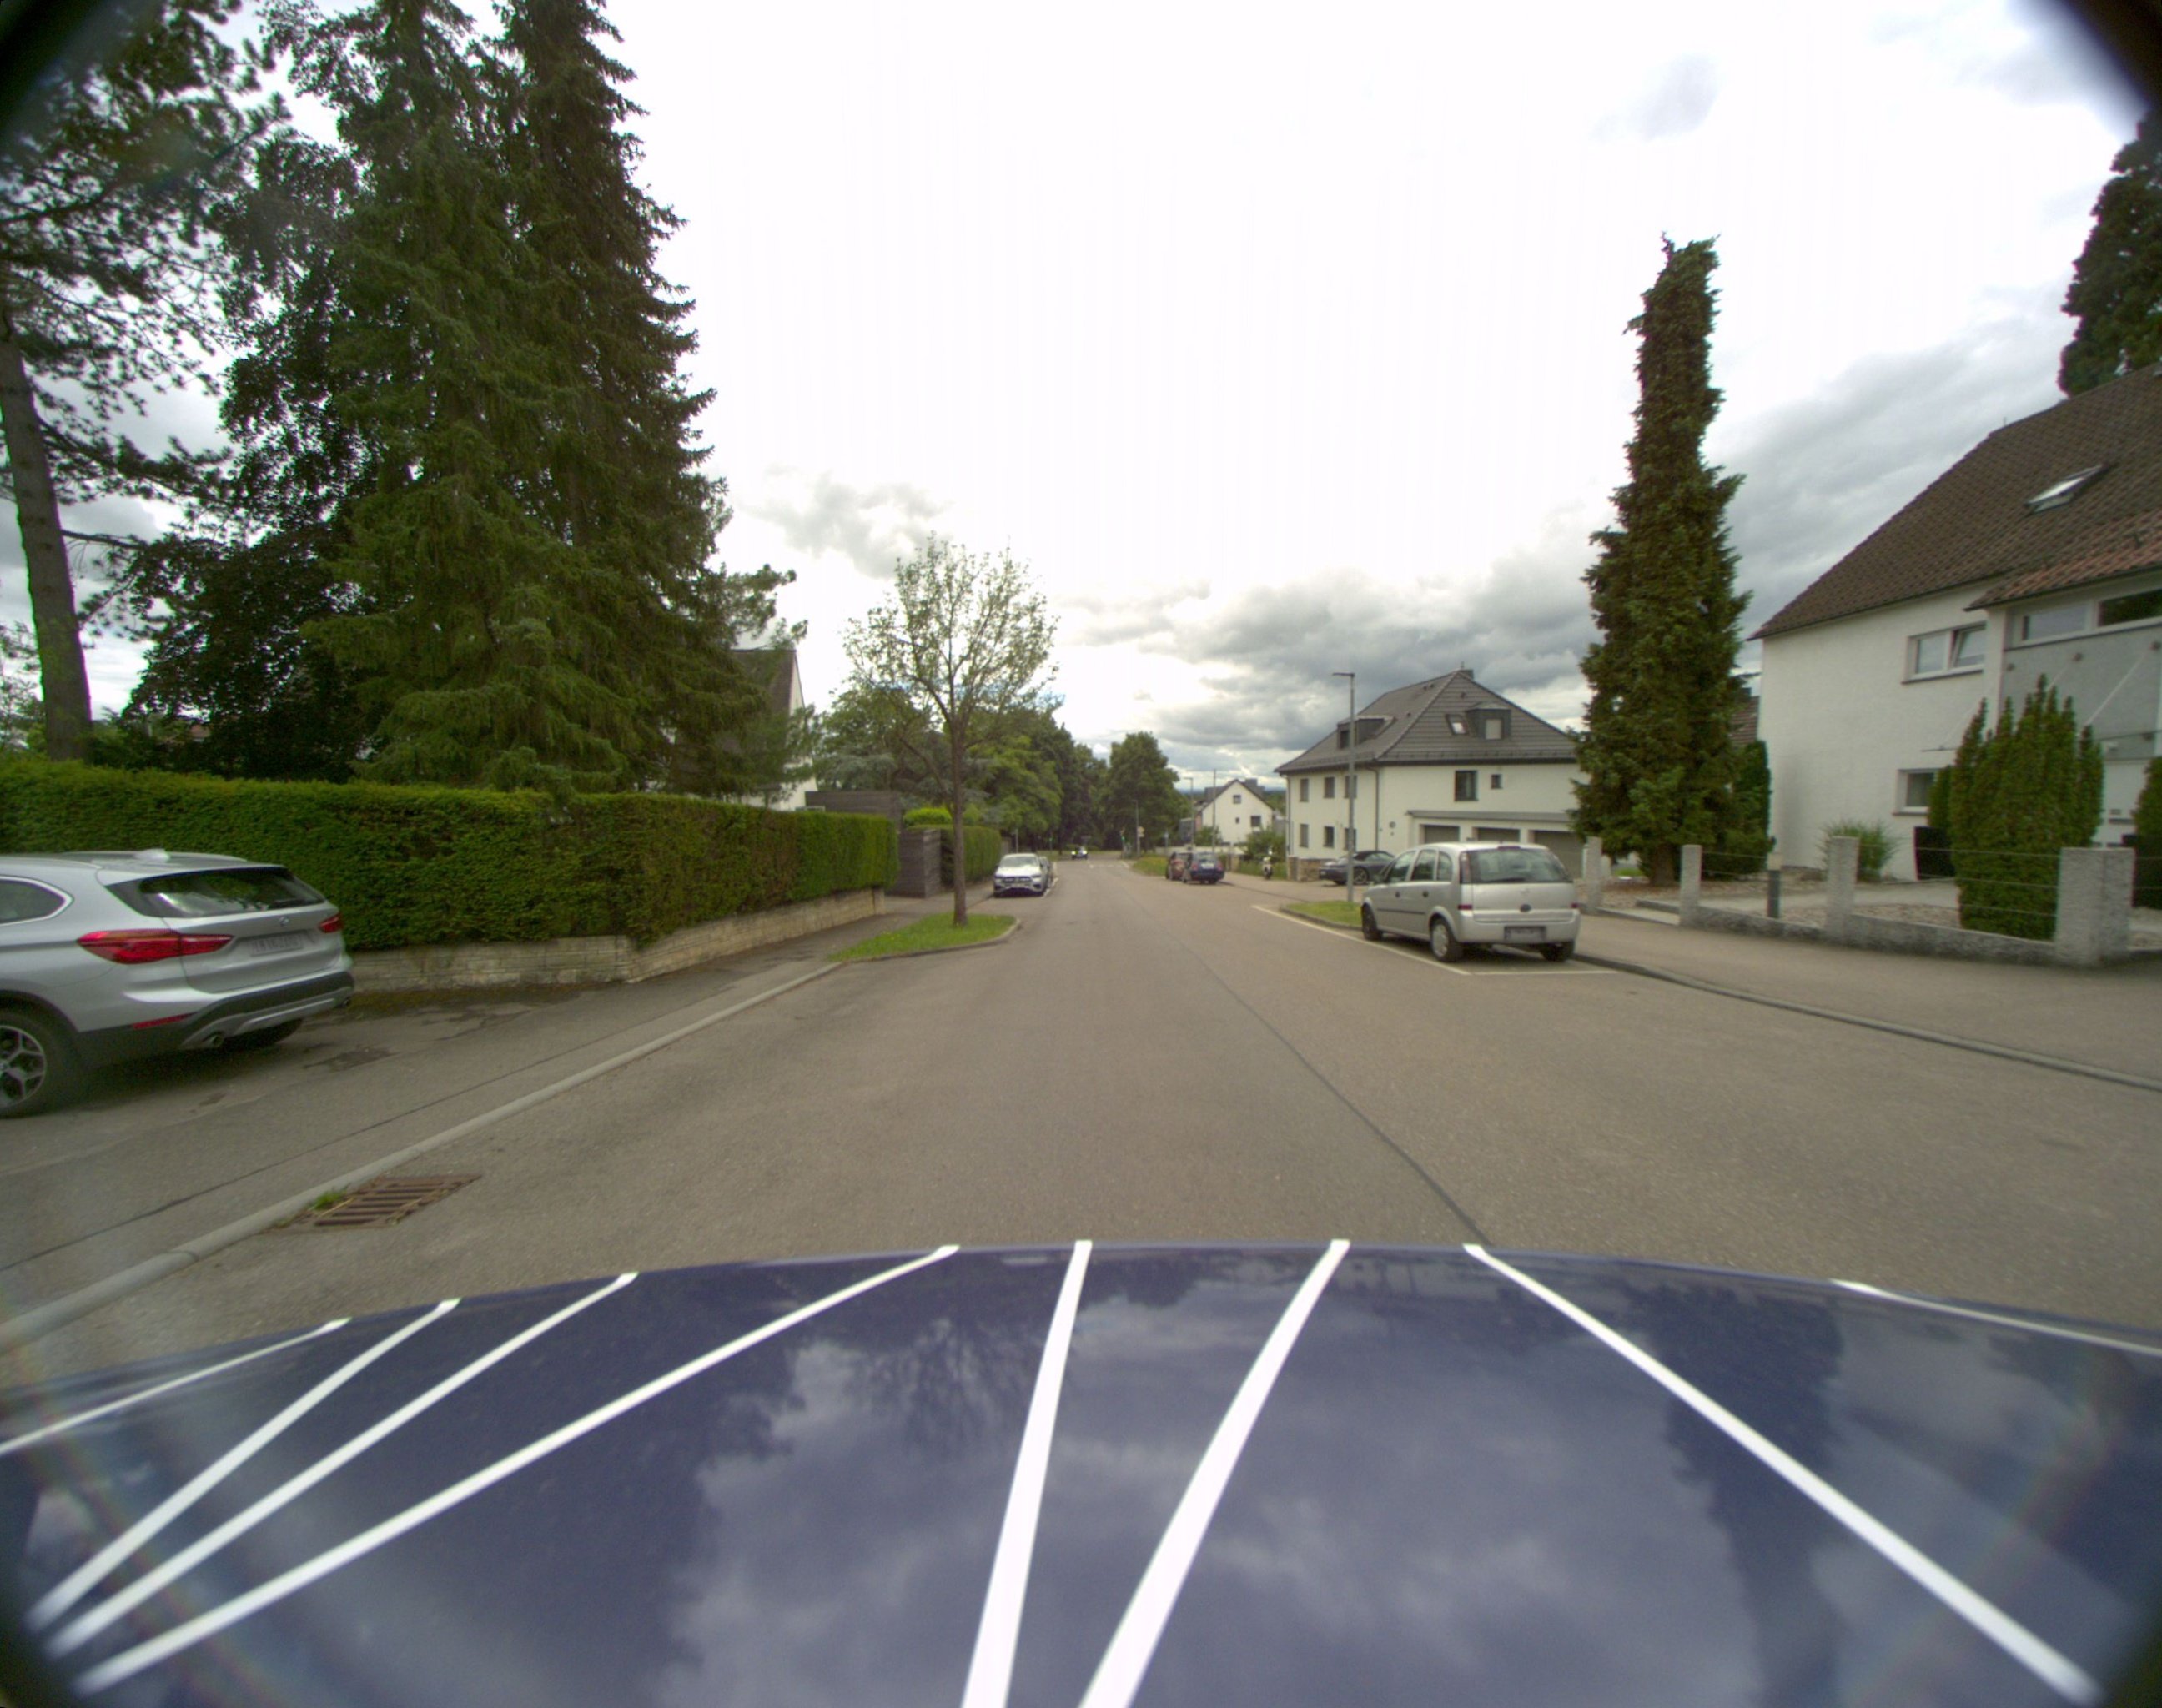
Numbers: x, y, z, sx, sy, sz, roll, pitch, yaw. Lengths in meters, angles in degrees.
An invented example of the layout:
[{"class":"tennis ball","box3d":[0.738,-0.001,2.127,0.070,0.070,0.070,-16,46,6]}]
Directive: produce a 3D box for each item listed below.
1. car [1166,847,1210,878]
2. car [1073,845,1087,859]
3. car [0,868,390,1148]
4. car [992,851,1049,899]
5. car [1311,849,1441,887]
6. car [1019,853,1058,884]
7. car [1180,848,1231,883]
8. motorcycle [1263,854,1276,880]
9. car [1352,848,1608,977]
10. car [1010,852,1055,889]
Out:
[{"class":"car","box3d":[5.714,0.422,41.109,1.882,1.576,3.871,-1,1,1]},{"class":"car","box3d":[-0.133,-0.227,88.248,1.568,1.504,3.396,-1,1,-1]},{"class":"car","box3d":[-7.841,0.953,5.206,4.221,1.590,1.880,-1,1,-8]},{"class":"car","box3d":[-2.251,0.746,29.216,1.860,1.573,4.170,-2,1,-1]},{"class":"car","box3d":[11.417,0.517,29.584,4.299,1.360,1.903,-1,1,-5]},{"class":"car","box3d":[-2.233,0.745,40.811,1.860,1.456,3.999,-2,1,-1]},{"class":"car","box3d":[5.809,0.515,35.827,1.882,1.528,3.507,-1,1,1]},{"class":"motorcycle","box3d":[9.258,0.622,37.266,0.430,1.154,1.863,0,2,8]},{"class":"car","box3d":[5.570,0.707,11.231,1.765,1.554,3.855,0,1,0]},{"class":"car","box3d":[-2.170,0.719,34.974,1.860,1.456,4.170,-2,1,-1]}]
